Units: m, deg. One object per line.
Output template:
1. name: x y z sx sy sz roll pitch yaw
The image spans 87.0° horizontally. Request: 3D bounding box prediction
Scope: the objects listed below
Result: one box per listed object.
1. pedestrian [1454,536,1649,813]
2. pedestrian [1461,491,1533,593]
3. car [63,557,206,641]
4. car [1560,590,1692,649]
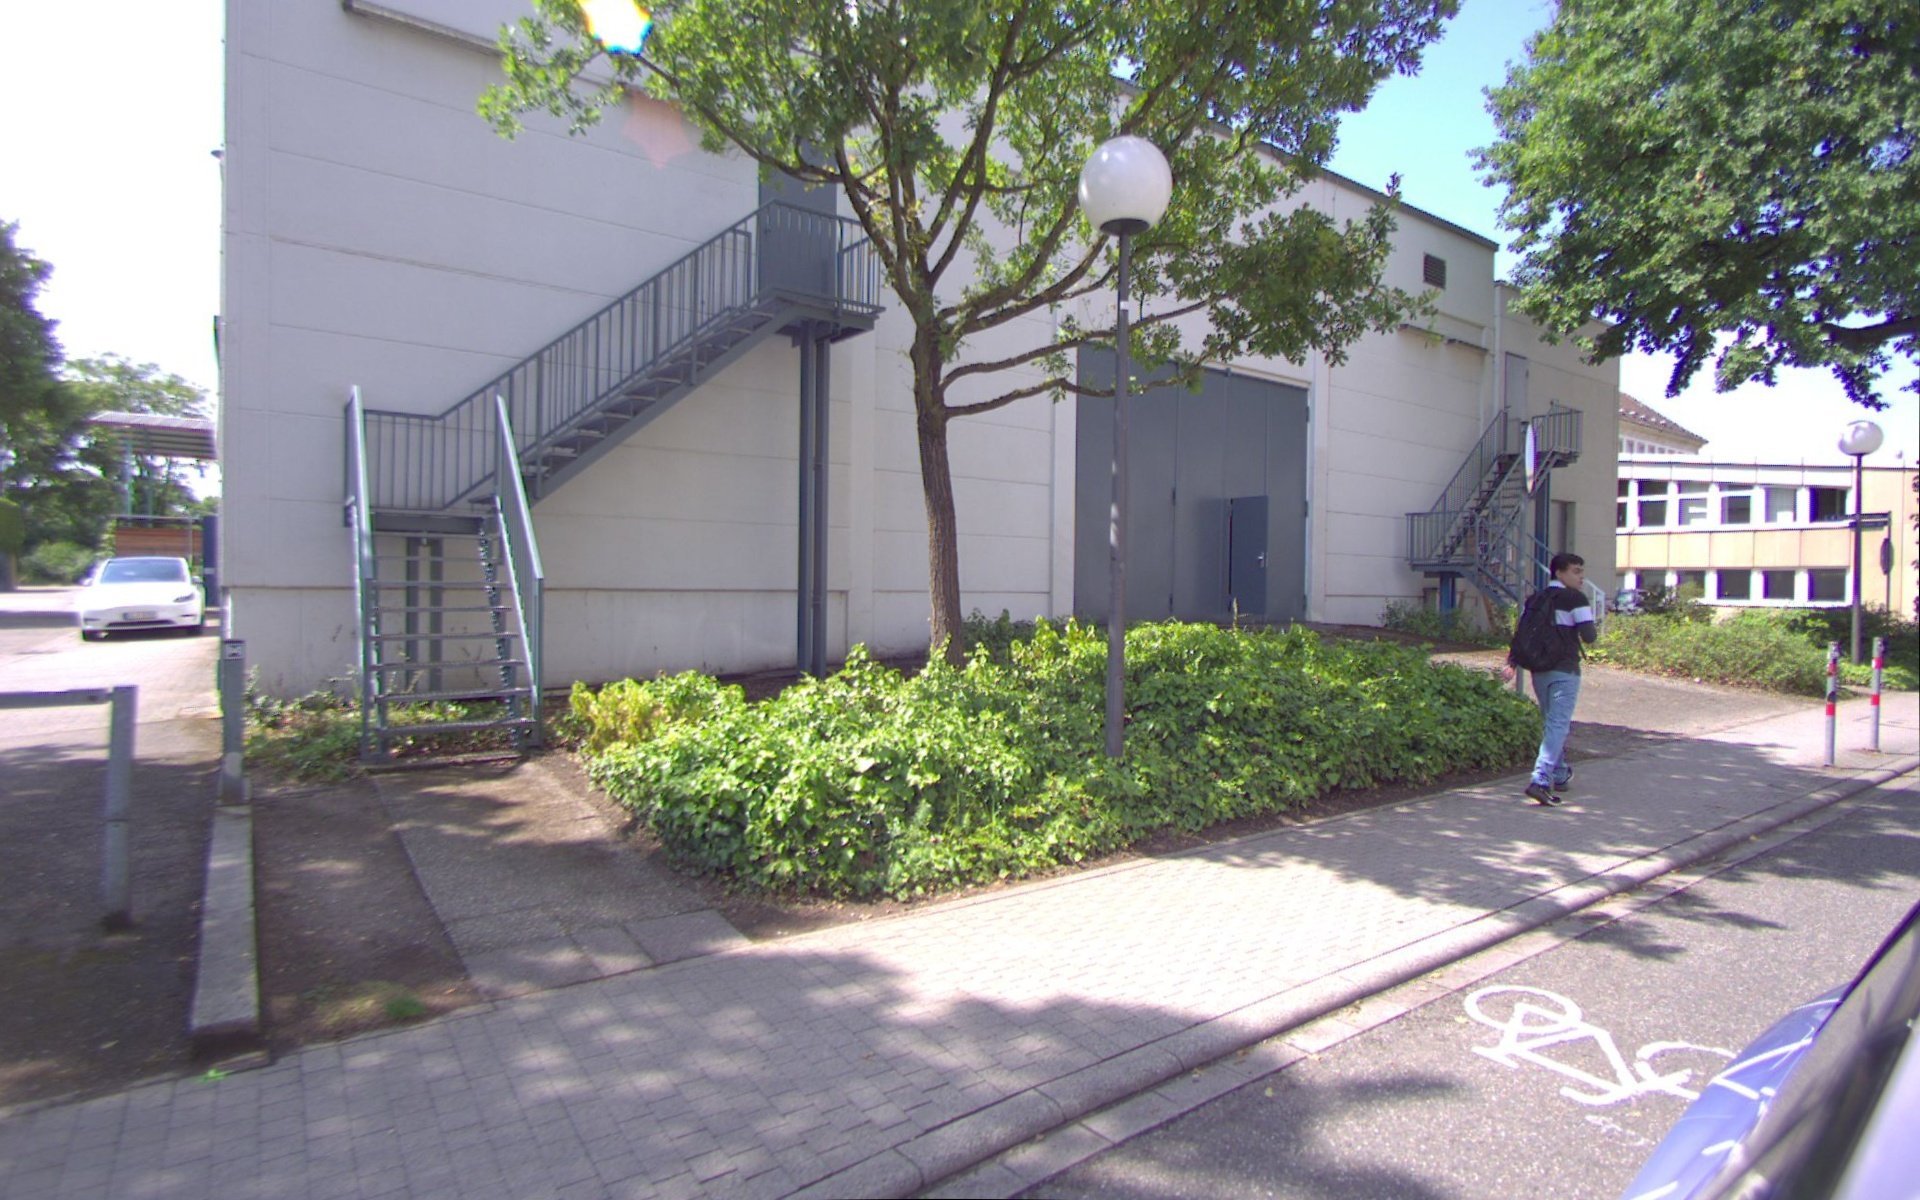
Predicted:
1. pedestrian: 4.021 0.446 6.863 1.234 1.695 0.741 0 1 -39
2. pedestrian: 11.078 -1.171 20.882 0.931 2.039 0.931 0 1 -32
3. car: -17.225 -0.089 21.321 1.962 1.562 4.095 -2 3 -35
4. car: 18.212 0.485 27.637 4.103 1.495 1.672 0 1 -36
